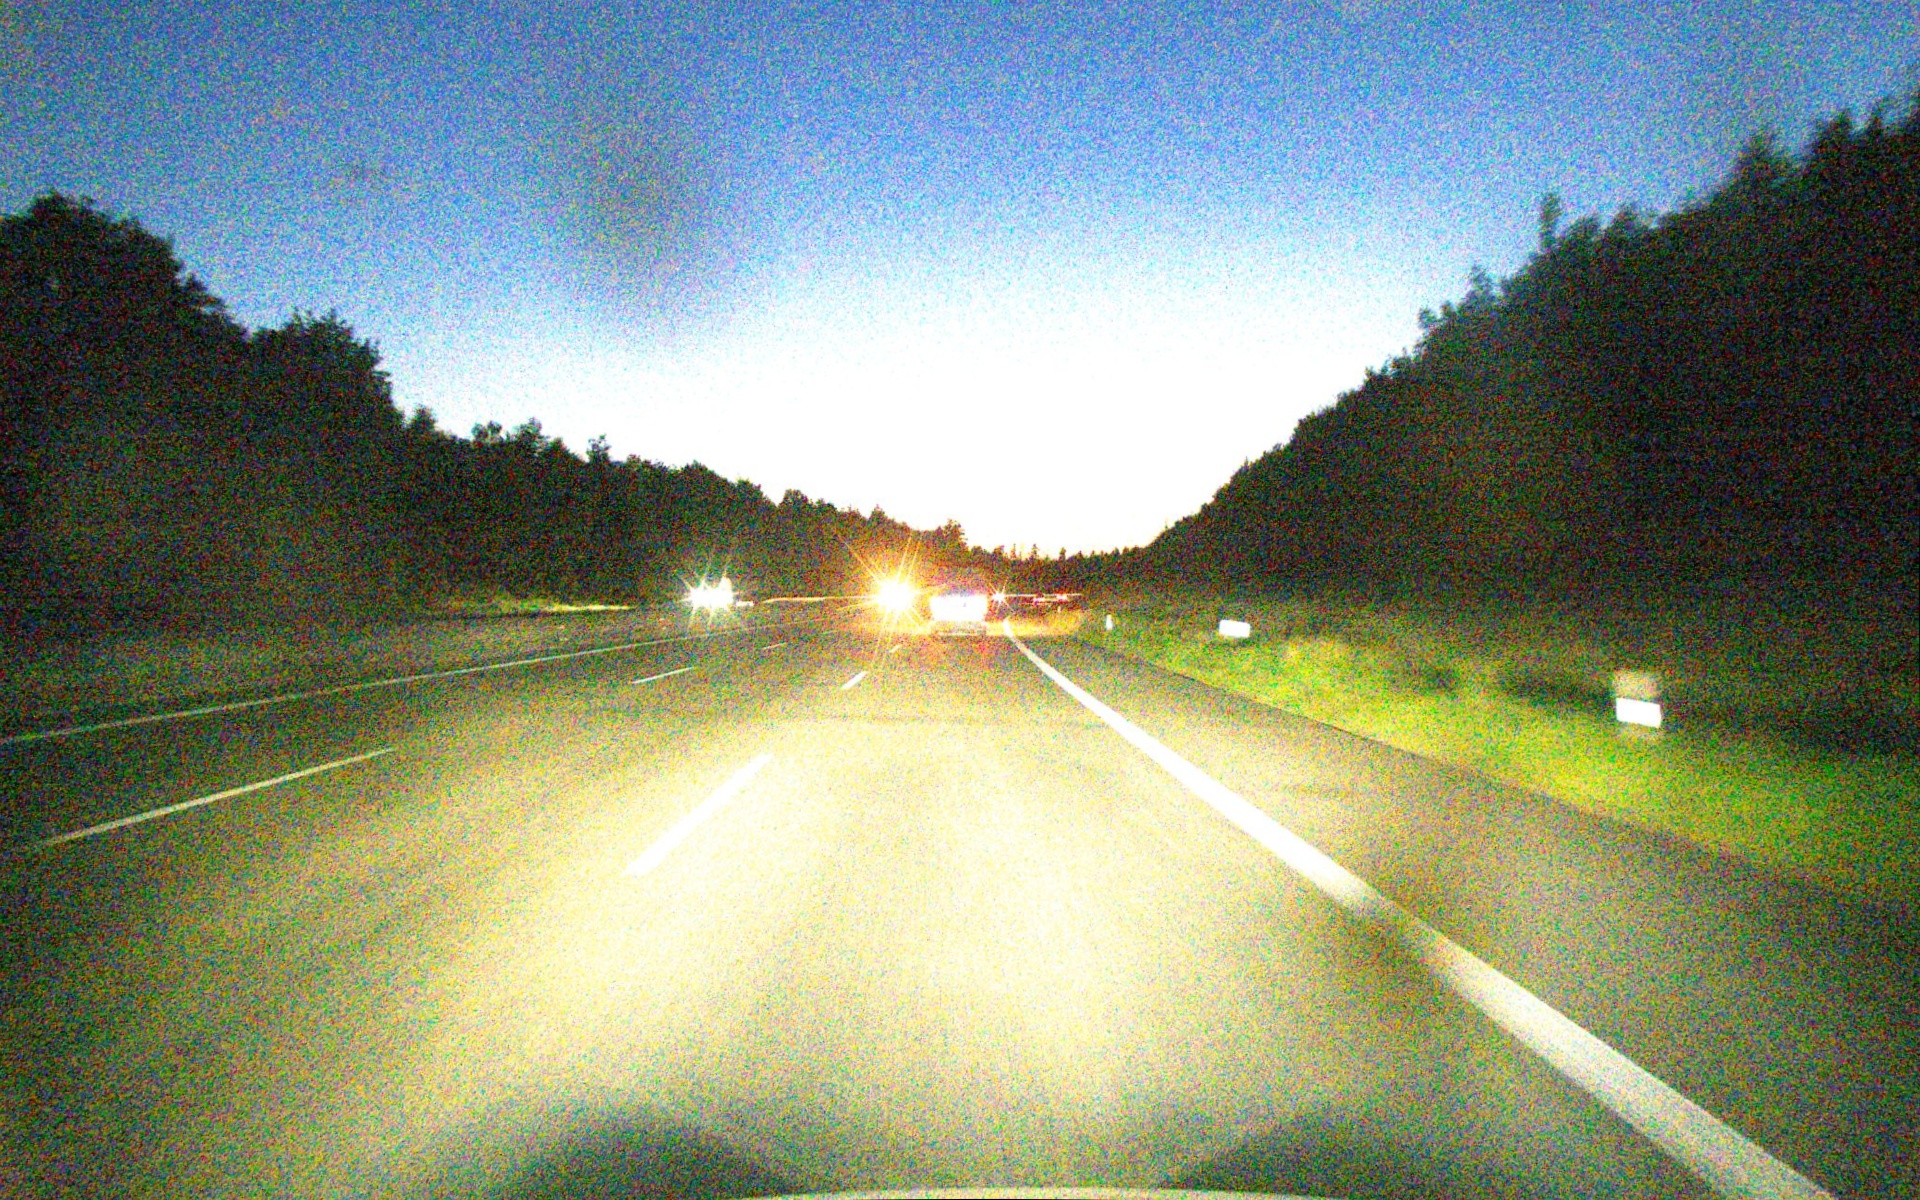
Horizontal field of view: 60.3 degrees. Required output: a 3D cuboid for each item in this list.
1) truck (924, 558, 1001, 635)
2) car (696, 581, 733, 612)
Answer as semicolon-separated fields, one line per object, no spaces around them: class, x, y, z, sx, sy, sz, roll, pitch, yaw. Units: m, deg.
truck;-0.012;-0.110;61.833;2.577;2.670;8.681;0;0;-2
car;-20.504;-0.262;138.334;2.039;2.531;6.243;0;0;1
